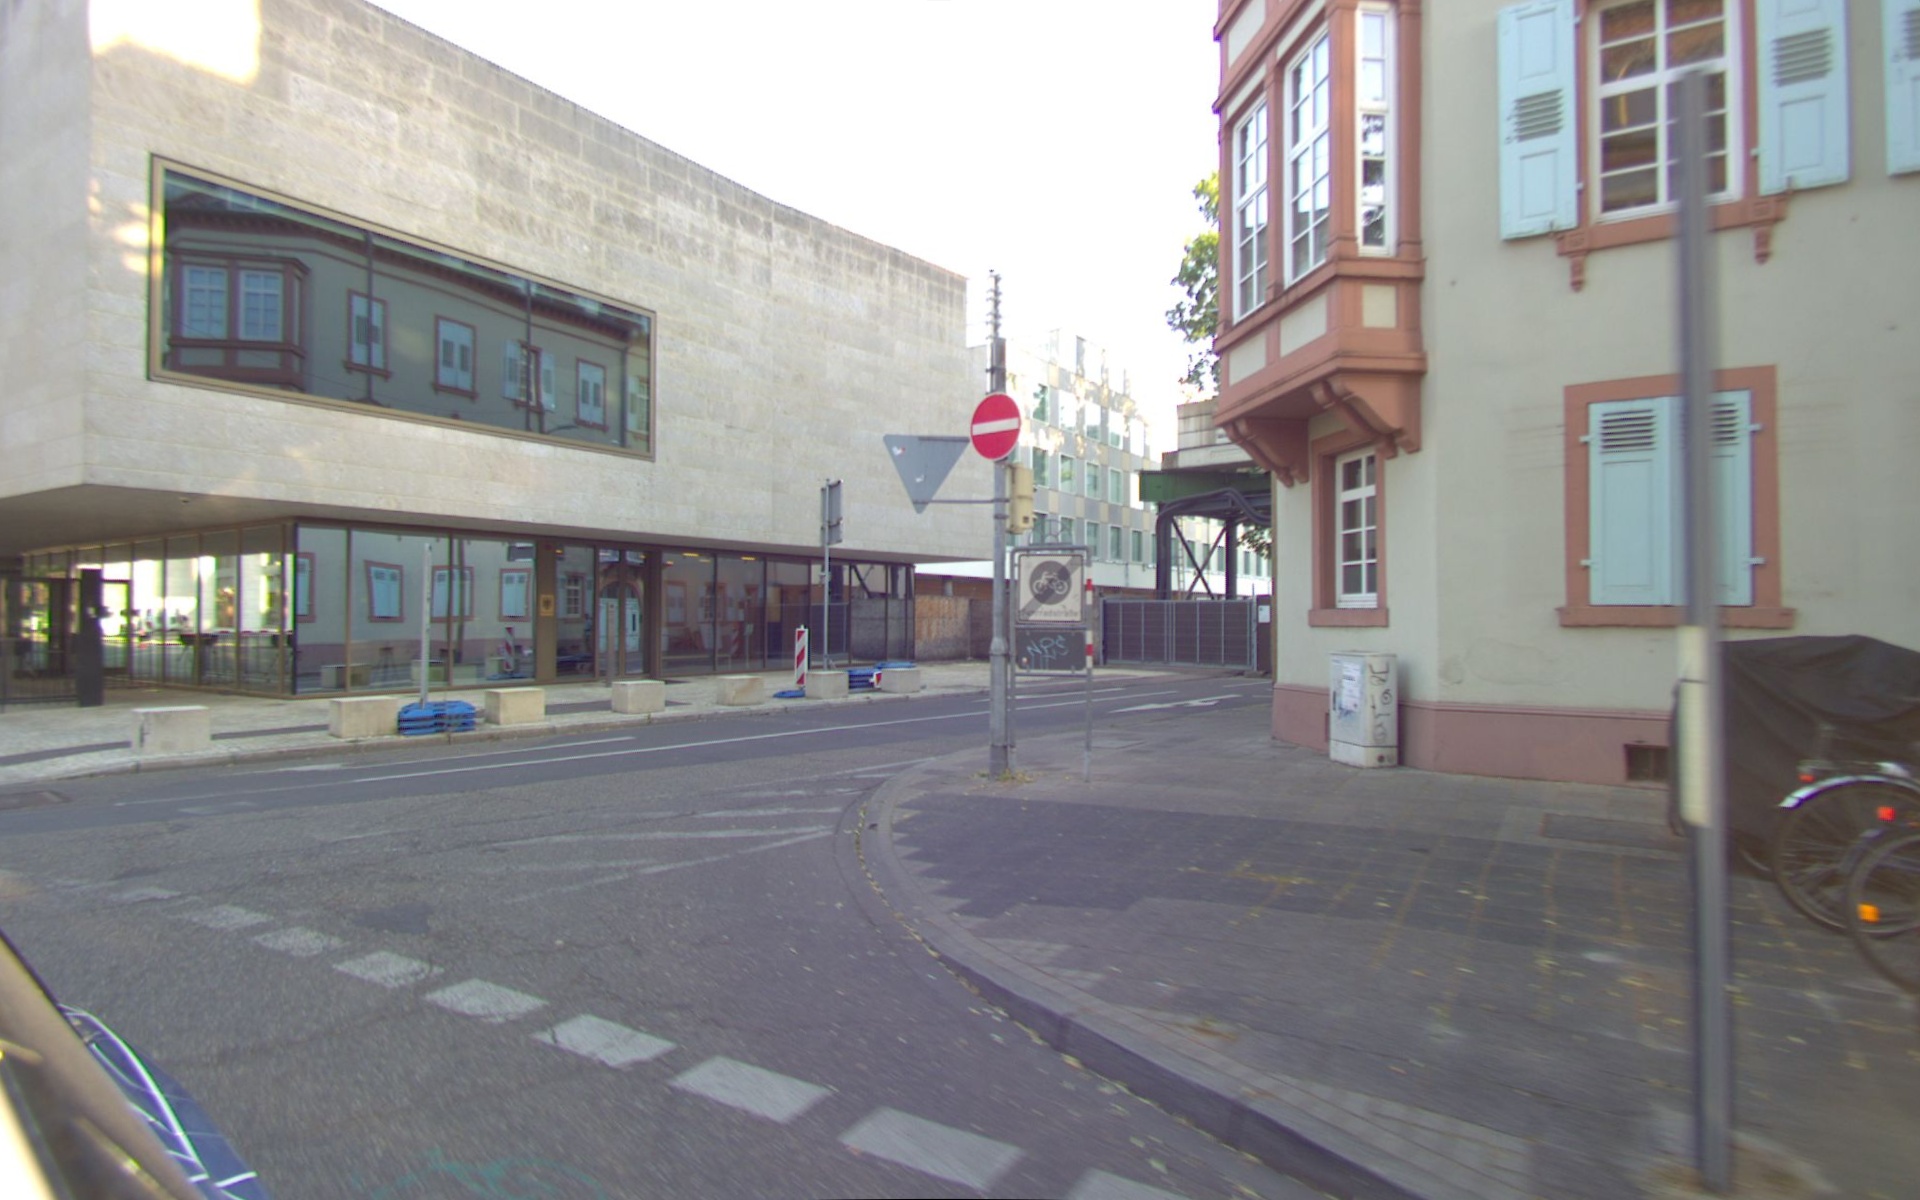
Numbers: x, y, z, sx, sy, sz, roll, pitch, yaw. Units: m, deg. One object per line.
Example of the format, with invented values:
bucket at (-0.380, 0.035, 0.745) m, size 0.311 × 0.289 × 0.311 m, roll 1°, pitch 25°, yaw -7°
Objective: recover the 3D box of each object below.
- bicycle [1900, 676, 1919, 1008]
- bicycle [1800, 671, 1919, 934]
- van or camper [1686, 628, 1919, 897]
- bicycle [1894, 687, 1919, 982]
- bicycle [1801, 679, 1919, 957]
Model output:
bicycle at (4.133, 0.867, 3.241) m, size 1.608 × 1.157 × 0.309 m, roll 0°, pitch -1°, yaw 34°
bicycle at (4.591, 0.877, 4.245) m, size 1.592 × 1.090 × 0.392 m, roll -1°, pitch 0°, yaw 34°
van or camper at (4.917, 0.800, 5.267) m, size 1.842 × 1.269 × 0.932 m, roll -1°, pitch 0°, yaw 36°
bicycle at (4.361, 0.887, 3.509) m, size 1.592 × 1.090 × 0.337 m, roll -1°, pitch -2°, yaw 34°
bicycle at (4.347, 0.892, 3.954) m, size 1.592 × 1.090 × 0.319 m, roll 0°, pitch -1°, yaw 34°
